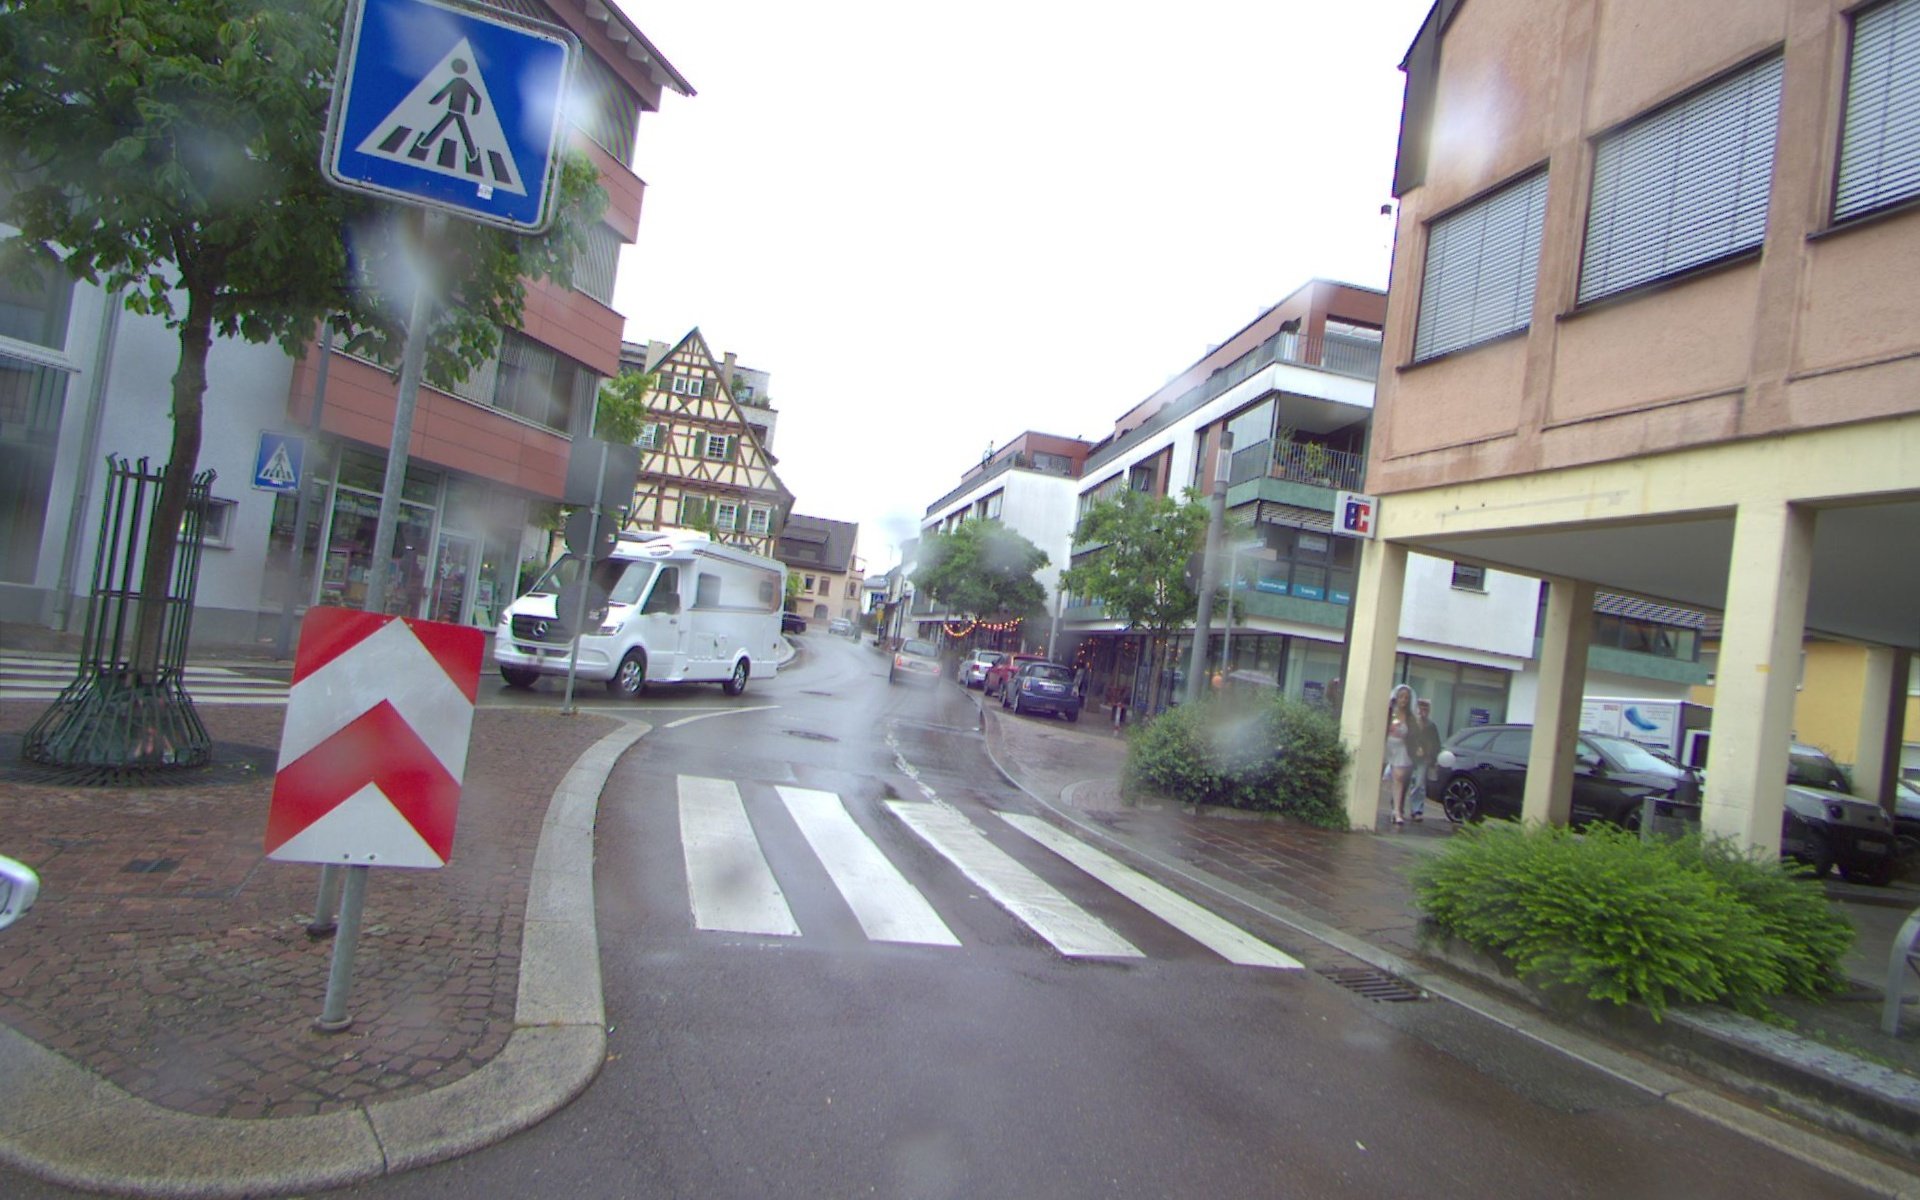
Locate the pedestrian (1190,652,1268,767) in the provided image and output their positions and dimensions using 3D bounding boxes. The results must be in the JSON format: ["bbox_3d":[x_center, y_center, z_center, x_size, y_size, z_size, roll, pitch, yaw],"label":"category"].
[{"bbox_3d":[4.468,1.798,16.741,0.725,1.768,0.890,7,-2,-16],"label":"pedestrian"}]

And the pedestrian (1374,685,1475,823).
[{"bbox_3d":[6.178,2.024,13.433,0.949,1.657,0.735,7,-2,15],"label":"pedestrian"}]

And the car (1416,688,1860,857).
[{"bbox_3d":[8.053,1.990,12.572,1.742,1.290,4.461,8,-3,-15],"label":"car"}]

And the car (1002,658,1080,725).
[{"bbox_3d":[2.141,2.438,27.452,1.514,1.379,3.371,6,0,-4],"label":"car"}]

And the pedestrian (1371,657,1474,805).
[{"bbox_3d":[5.810,1.630,12.660,0.715,1.708,0.730,8,-2,-21],"label":"pedestrian"}]

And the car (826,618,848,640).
[{"bbox_3d":[-11.011,2.574,89.929,1.652,1.731,3.319,8,-3,-8],"label":"car"}]

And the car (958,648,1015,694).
[{"bbox_3d":[0.950,2.641,38.173,1.592,1.430,3.999,5,-2,-6],"label":"car"}]

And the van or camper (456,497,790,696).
[{"bbox_3d":[-5.334,0.185,17.502,2.399,2.614,6.763,5,-3,10],"label":"van or camper"}]

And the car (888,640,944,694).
[{"bbox_3d":[-1.489,2.155,33.074,1.500,1.487,3.341,8,-2,-6],"label":"car"}]

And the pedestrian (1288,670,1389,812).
[{"bbox_3d":[4.875,1.800,12.987,0.689,1.680,0.817,8,-2,-22],"label":"pedestrian"}]

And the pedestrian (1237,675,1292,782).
[{"bbox_3d":[5.084,2.142,16.810,0.533,1.682,0.520,7,-2,-13],"label":"pedestrian"}]

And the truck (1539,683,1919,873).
[{"bbox_3d":[10.319,2.275,13.687,1.742,1.828,3.989,8,-3,-16],"label":"truck"}]

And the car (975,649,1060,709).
[{"bbox_3d":[1.774,2.506,32.574,1.603,1.517,3.995,9,-3,-11],"label":"car"}]
